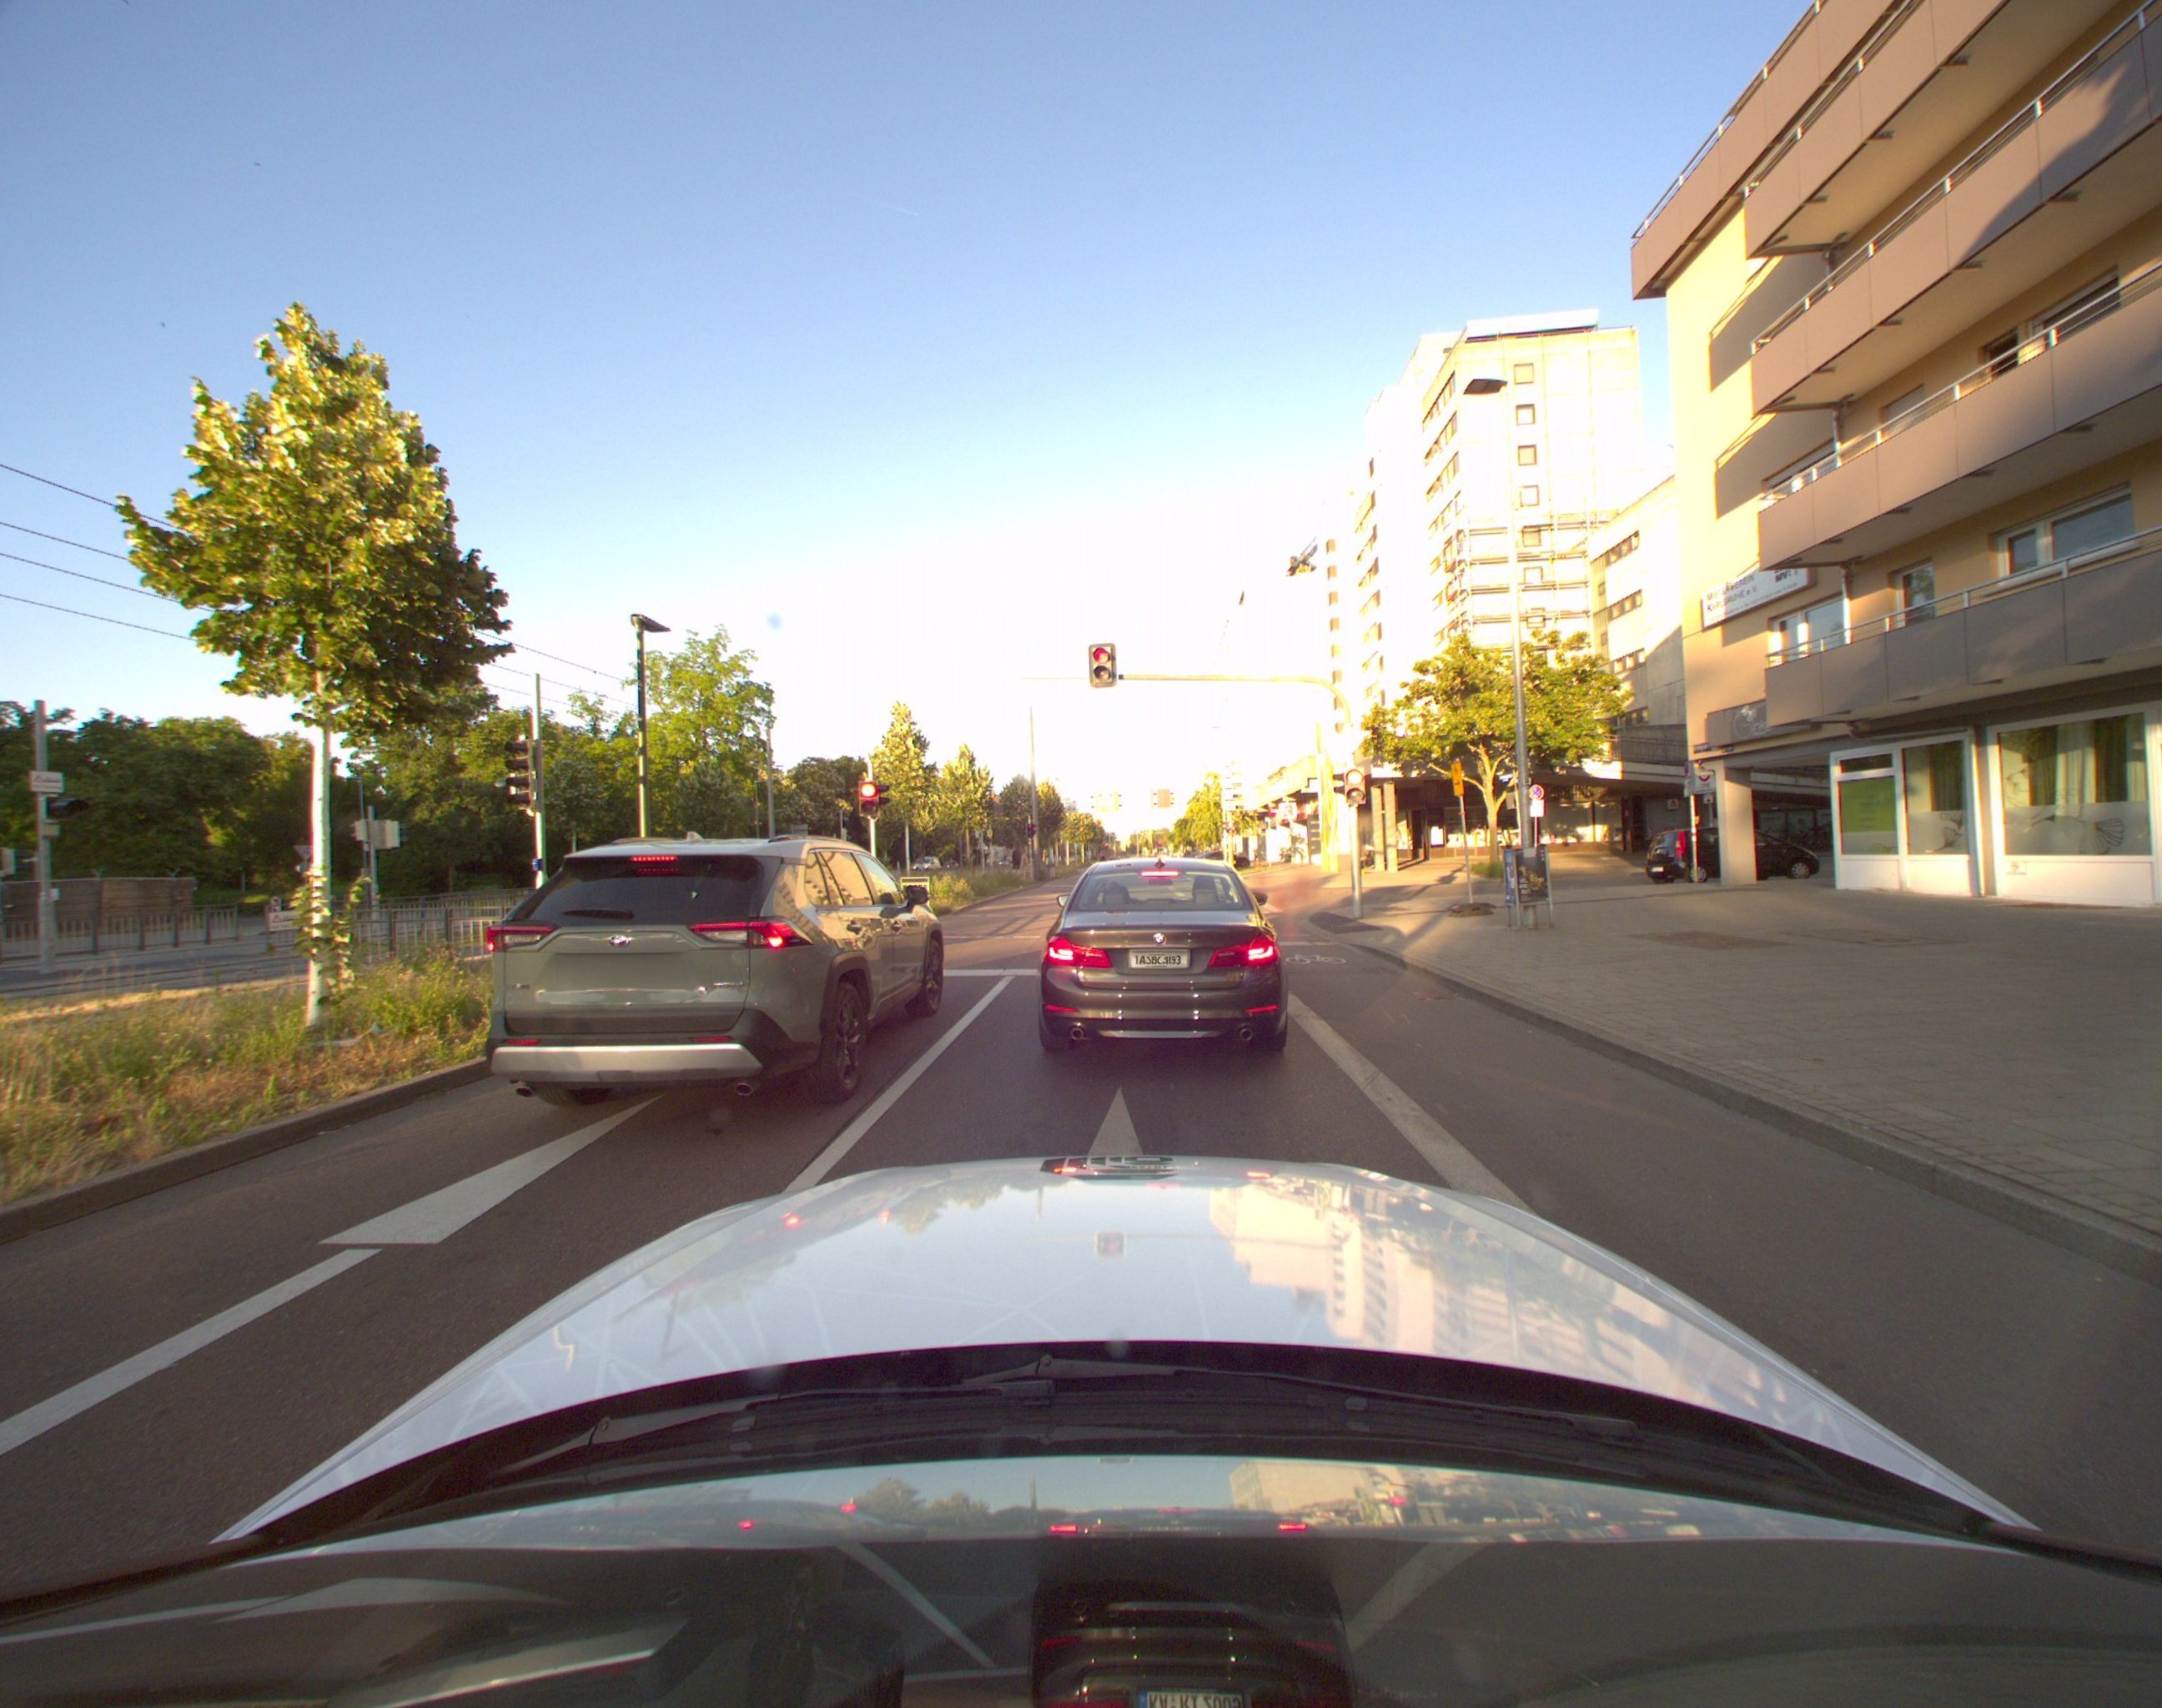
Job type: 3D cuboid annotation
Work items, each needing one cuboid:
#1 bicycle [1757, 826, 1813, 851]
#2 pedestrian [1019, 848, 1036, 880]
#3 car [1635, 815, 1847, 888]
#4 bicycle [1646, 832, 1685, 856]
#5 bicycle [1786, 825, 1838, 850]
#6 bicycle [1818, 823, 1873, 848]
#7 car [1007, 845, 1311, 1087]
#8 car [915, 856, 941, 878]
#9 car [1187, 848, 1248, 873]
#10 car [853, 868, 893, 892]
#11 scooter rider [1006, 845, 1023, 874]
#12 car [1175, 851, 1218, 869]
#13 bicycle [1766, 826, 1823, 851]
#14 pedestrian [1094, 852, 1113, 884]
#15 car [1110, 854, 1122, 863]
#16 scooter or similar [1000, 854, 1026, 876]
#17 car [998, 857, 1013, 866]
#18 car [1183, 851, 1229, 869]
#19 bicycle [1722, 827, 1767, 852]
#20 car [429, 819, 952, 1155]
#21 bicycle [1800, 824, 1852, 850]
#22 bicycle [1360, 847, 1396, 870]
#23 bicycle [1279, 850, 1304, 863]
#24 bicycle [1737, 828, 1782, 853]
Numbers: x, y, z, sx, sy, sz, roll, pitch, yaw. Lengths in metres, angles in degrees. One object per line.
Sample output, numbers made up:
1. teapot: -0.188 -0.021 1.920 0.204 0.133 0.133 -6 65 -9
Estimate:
1. bicycle: 32.448 -0.700 37.561 0.582 1.075 1.966 1 -1 -16
2. pedestrian: -2.983 0.535 45.260 0.832 1.712 0.648 -2 0 2
3. car: 17.557 -0.026 21.840 4.018 1.585 1.709 -4 -3 7
4. bicycle: 27.623 -0.460 38.526 0.578 1.075 1.980 1 -1 6
5. bicycle: 33.520 -0.731 37.384 0.579 1.075 1.976 1 -1 0
6. bicycle: 34.661 -0.815 36.943 0.579 1.075 1.975 1 -1 -3
7. car: 0.758 0.700 7.487 1.922 1.481 4.531 -1 1 7
8. car: -16.180 1.355 86.567 1.989 2.168 4.747 -1 1 -2
9. car: 9.633 0.421 57.308 4.290 1.658 1.839 -2 1 -39
10. car: -17.756 2.178 69.656 1.986 1.744 4.753 -1 1 2
11. scooter rider: -3.605 0.306 44.044 0.818 1.514 0.653 -2 0 0
12. car: 12.196 0.614 85.643 4.283 1.658 1.842 -2 1 -32
13. bicycle: 32.926 -0.717 37.611 0.583 1.075 1.964 1 -1 -20
14. pedestrian: 1.134 0.690 40.881 0.830 1.586 0.814 -3 0 8
15. car: 6.351 0.865 147.765 1.970 1.433 4.847 -1 1 3
16. scooter or similar: -3.666 0.588 44.040 1.325 1.153 0.513 -2 0 0
17. car: -12.211 1.199 131.646 1.792 1.481 3.787 -2 0 4
18. car: 12.181 0.575 79.355 4.284 1.658 1.842 -2 1 -33
19. bicycle: 30.371 -0.634 37.305 0.578 1.075 1.980 1 -1 6
20. car: -2.292 0.630 6.224 1.848 1.658 4.269 -1 1 1
21. bicycle: 34.078 -0.766 37.277 0.579 1.075 1.976 1 -1 0
22. bicycle: 15.176 0.227 41.647 0.689 1.149 2.012 1 -1 -15
23. bicycle: 17.892 0.219 69.208 2.004 1.149 0.692 1 -1 9
24. bicycle: 30.913 -0.617 37.124 0.578 1.075 1.980 1 -1 6
